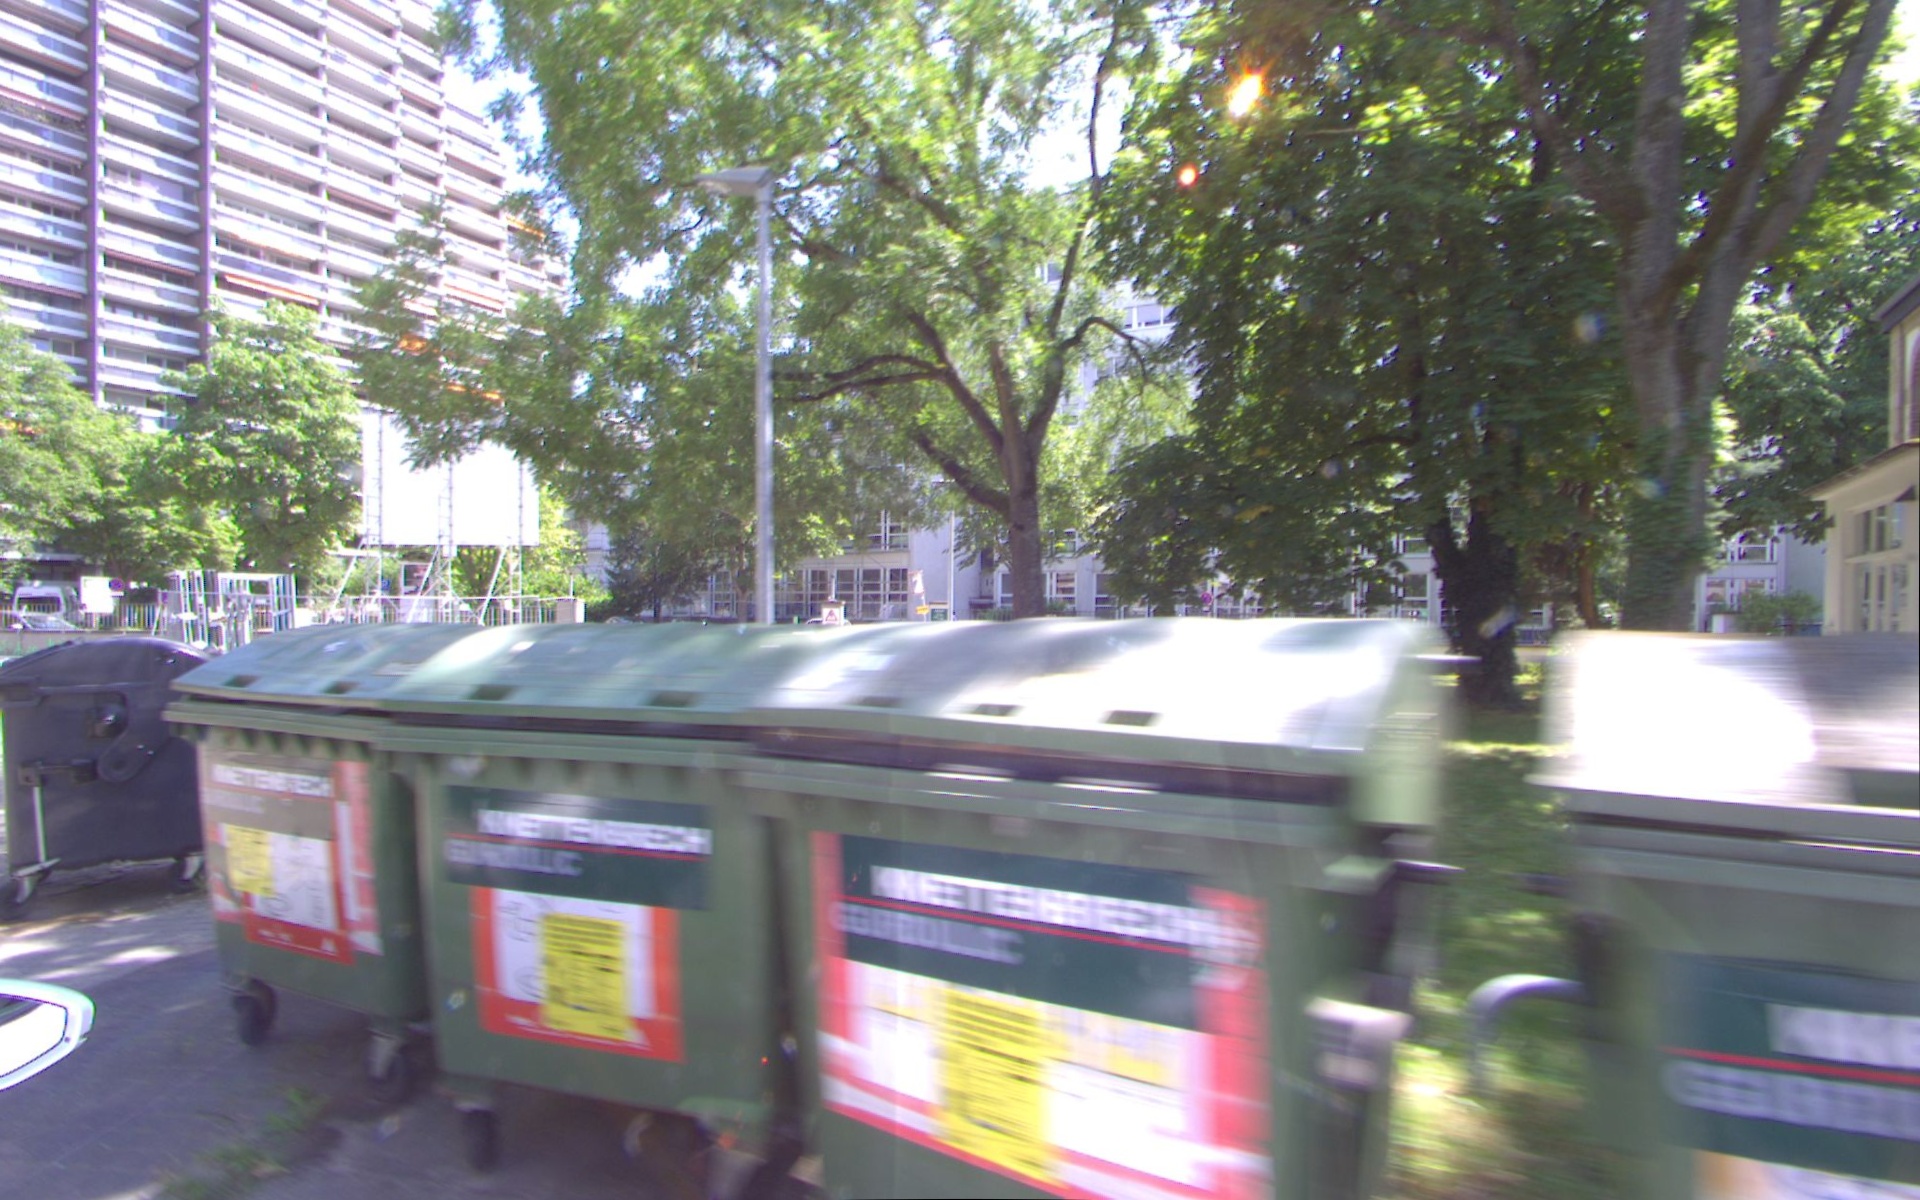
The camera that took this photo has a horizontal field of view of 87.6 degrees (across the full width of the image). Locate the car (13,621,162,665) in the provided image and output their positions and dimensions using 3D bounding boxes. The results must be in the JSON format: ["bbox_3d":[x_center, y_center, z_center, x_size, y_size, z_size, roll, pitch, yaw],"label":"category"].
[{"bbox_3d":[-28.471,1.379,32.826,1.583,1.337,3.726,0,-1,2],"label":"car"}]

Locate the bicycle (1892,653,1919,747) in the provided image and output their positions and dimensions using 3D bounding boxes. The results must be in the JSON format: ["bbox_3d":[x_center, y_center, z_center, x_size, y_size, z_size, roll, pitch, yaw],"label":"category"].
[{"bbox_3d":[12.289,1.168,11.816,1.800,1.115,0.404,-3,-2,31],"label":"bicycle"}]

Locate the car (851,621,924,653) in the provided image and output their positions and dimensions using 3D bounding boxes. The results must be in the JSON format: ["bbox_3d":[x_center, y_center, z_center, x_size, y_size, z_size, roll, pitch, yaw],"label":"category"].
[{"bbox_3d":[-3.465,1.709,47.512,1.651,1.434,3.680,1,-1,-40],"label":"car"}]

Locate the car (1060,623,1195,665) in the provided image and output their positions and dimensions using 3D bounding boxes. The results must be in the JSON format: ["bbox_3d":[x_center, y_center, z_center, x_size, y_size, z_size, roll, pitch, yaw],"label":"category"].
[{"bbox_3d":[5.932,1.551,35.819,4.595,1.456,1.673,0,0,2],"label":"car"}]

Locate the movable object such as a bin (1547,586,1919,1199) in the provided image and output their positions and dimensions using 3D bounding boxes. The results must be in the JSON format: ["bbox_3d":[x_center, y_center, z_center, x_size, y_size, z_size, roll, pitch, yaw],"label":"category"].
[{"bbox_3d":[1.597,0.729,1.363,1.357,1.477,1.073,0,0,32],"label":"movable object such as a bin"}]

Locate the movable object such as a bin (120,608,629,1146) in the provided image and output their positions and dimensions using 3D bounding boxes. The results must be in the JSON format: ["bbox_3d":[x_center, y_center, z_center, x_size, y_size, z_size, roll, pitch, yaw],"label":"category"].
[{"bbox_3d":[-2.064,0.773,3.570,1.357,1.477,1.073,0,0,32],"label":"movable object such as a bin"}]

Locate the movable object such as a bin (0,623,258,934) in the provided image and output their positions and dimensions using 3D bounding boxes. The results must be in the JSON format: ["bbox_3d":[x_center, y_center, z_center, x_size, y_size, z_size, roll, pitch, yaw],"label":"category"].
[{"bbox_3d":[-4.863,0.875,5.624,1.357,1.477,1.073,0,0,32],"label":"movable object such as a bin"}]

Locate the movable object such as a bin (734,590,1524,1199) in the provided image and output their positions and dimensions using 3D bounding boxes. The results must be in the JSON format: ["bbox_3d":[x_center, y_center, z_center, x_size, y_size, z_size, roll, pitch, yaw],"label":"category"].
[{"bbox_3d":[0.395,0.739,2.124,1.357,1.477,1.073,0,0,32],"label":"movable object such as a bin"}]

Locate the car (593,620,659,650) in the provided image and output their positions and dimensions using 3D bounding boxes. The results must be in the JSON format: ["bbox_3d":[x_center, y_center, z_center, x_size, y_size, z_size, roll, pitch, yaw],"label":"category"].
[{"bbox_3d":[-15.993,1.637,47.867,1.897,1.327,3.901,1,-1,-37],"label":"car"}]

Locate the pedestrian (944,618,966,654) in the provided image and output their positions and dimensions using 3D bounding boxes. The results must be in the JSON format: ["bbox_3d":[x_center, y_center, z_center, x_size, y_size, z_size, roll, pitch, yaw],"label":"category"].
[{"bbox_3d":[-0.269,2.012,56.698,0.864,2.040,0.991,0,0,33],"label":"pedestrian"}]

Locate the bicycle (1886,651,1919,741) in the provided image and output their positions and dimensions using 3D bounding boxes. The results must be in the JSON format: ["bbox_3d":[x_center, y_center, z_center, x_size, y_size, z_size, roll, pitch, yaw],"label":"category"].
[{"bbox_3d":[12.754,1.178,12.397,1.800,1.115,0.404,-3,-2,31],"label":"bicycle"}]

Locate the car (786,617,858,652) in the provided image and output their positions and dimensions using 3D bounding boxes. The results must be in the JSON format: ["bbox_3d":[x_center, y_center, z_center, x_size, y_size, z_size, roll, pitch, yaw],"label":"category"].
[{"bbox_3d":[-6.629,1.622,47.947,1.653,1.610,3.657,1,-1,-43],"label":"car"}]

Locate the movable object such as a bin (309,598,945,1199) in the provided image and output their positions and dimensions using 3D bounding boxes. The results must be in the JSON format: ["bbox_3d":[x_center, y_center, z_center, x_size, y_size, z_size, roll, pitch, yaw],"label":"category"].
[{"bbox_3d":[-0.898,0.747,2.789,1.357,1.477,1.073,0,0,32],"label":"movable object such as a bin"}]

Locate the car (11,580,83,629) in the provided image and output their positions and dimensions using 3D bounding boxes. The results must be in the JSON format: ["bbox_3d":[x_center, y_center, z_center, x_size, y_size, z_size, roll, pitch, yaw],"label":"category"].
[{"bbox_3d":[-44.613,0.265,49.043,2.165,2.287,4.832,0,-1,-37],"label":"car"}]

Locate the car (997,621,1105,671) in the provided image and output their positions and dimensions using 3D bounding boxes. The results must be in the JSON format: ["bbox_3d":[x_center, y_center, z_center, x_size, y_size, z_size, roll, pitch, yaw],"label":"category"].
[{"bbox_3d":[2.804,1.423,31.300,3.267,1.498,1.433,0,0,2],"label":"car"}]

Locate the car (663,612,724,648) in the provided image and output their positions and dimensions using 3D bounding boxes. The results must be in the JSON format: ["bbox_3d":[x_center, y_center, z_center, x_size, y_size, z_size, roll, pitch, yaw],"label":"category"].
[{"bbox_3d":[-12.860,1.420,48.121,1.988,1.651,3.912,0,-1,-28],"label":"car"}]
